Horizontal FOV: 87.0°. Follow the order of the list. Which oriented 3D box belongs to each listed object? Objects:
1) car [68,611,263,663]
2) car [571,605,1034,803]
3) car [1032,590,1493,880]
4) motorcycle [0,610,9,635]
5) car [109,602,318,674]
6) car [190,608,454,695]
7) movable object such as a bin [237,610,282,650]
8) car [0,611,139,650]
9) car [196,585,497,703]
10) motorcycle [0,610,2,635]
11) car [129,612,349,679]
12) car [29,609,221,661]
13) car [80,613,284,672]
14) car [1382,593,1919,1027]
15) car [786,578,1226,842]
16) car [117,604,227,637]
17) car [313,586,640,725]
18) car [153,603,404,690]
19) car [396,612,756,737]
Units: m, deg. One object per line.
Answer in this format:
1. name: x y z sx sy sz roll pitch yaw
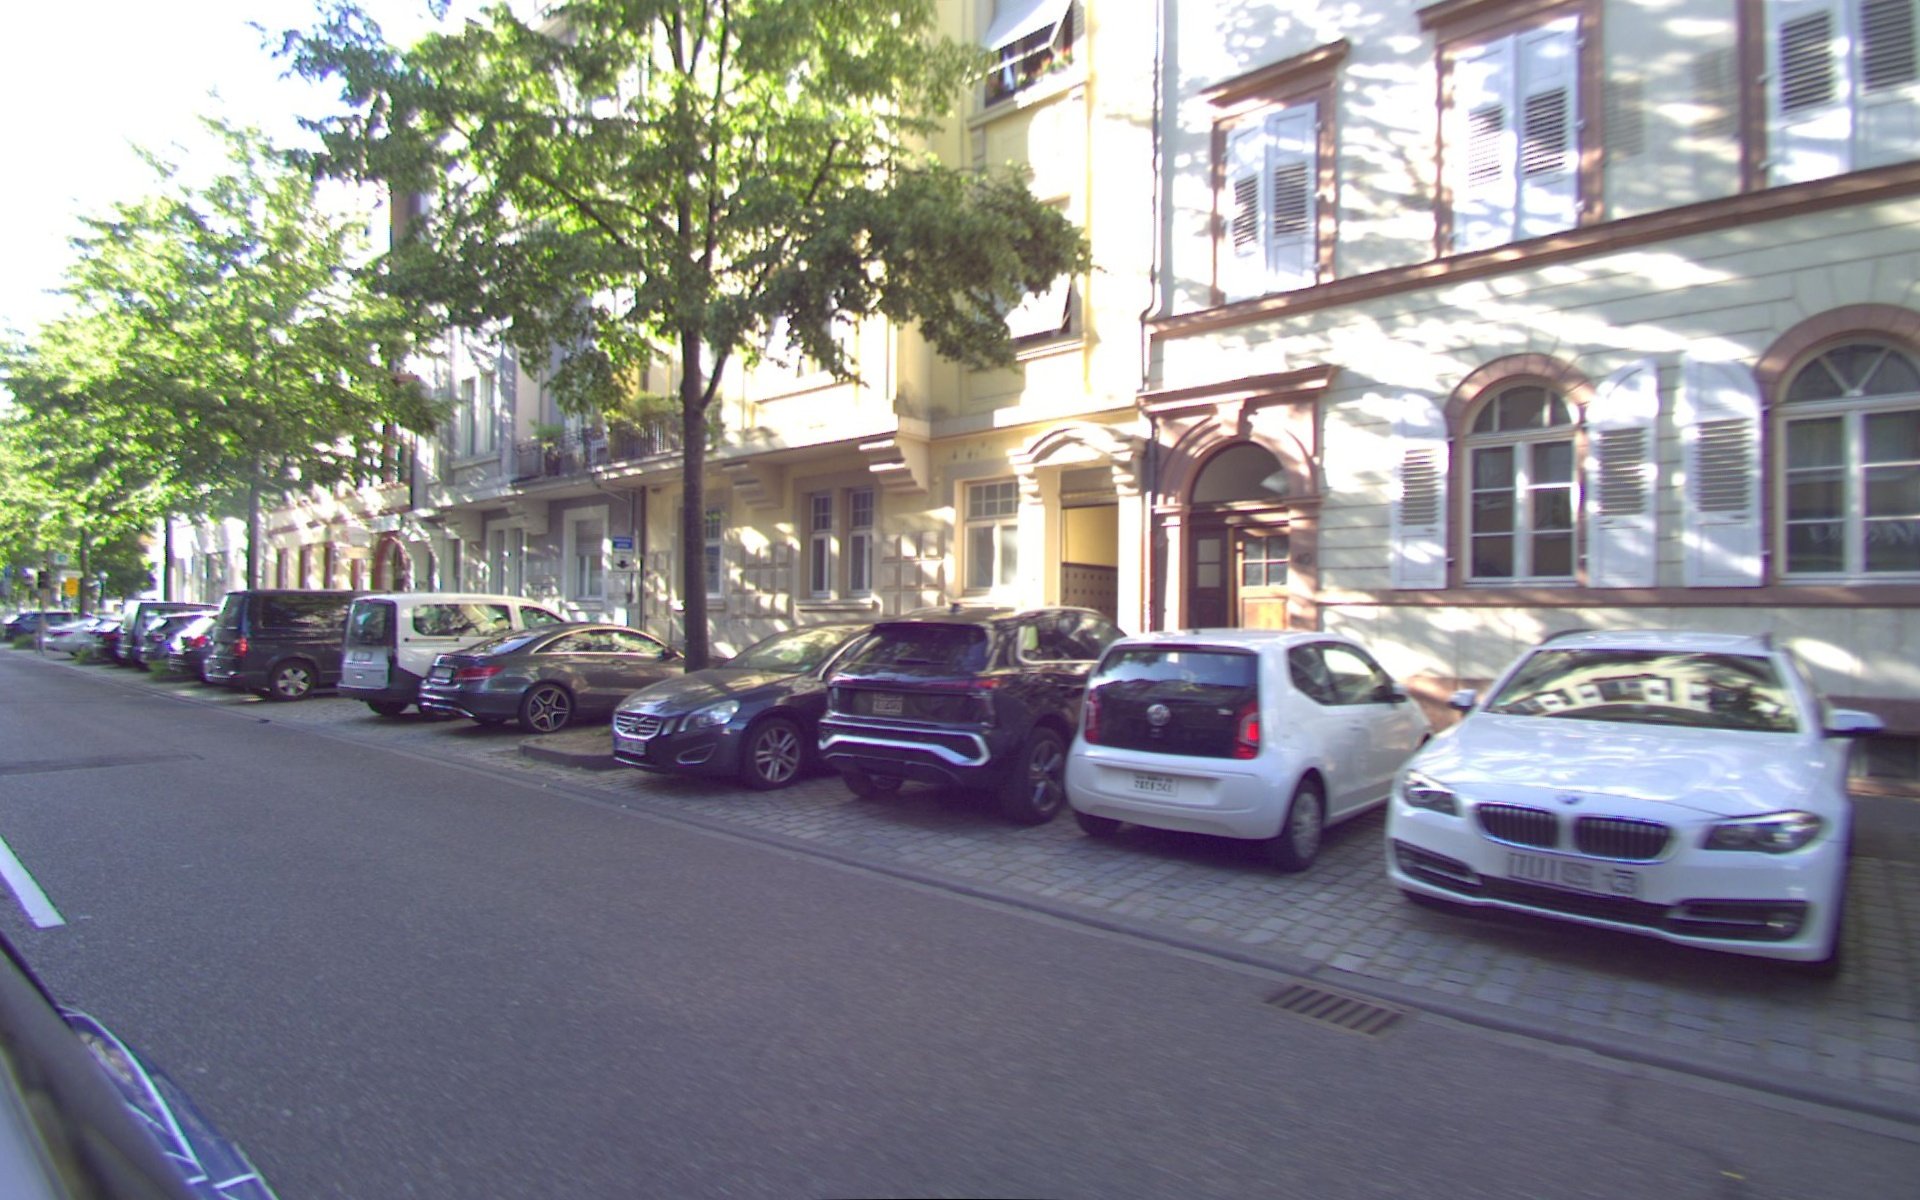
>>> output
1. car: -25.806 1.158 33.012 1.996 1.503 4.657 -2 -1 36
2. car: -1.375 0.841 10.247 1.917 1.552 4.417 -1 -1 43
3. car: 2.562 0.762 7.796 1.808 1.594 4.294 -1 -1 41
4. motorcycle: -55.823 1.291 57.991 1.724 1.434 0.832 0 -1 -22
5. car: -20.478 0.982 27.909 1.927 1.838 4.298 -1 -1 38
6. car: -13.210 0.983 21.162 1.915 1.607 4.296 -1 -1 39
7. movable object such as a bin: -26.216 1.092 37.876 1.382 1.455 1.121 -1 -1 44
8. car: -37.333 1.228 42.452 1.944 1.556 4.292 -1 -1 43
9. car: -11.402 0.754 19.052 1.930 1.941 4.523 -1 -1 43
10. motorcycle: -55.642 1.293 56.959 2.282 1.434 1.004 0 -1 -22
11. car: -18.486 1.101 26.088 1.915 1.556 4.294 -1 -1 41
12. car: -27.847 1.115 33.902 1.996 1.503 4.657 1 1 36
13. car: -22.458 1.157 29.405 1.956 1.556 4.310 0 -1 29
14. car: 4.173 0.774 5.915 1.915 1.552 4.420 -1 -1 40
15. car: 0.673 0.741 8.929 1.912 1.722 4.302 0 -1 35
16. car: -49.328 1.326 63.503 2.055 1.959 5.302 0 -2 15
17. car: -7.348 0.764 15.843 1.910 1.848 4.307 0 -1 31
18. car: -15.123 0.965 22.652 1.915 1.746 4.296 -1 -1 39
19. car: -5.171 0.901 14.071 1.917 1.450 4.292 -1 -1 43
